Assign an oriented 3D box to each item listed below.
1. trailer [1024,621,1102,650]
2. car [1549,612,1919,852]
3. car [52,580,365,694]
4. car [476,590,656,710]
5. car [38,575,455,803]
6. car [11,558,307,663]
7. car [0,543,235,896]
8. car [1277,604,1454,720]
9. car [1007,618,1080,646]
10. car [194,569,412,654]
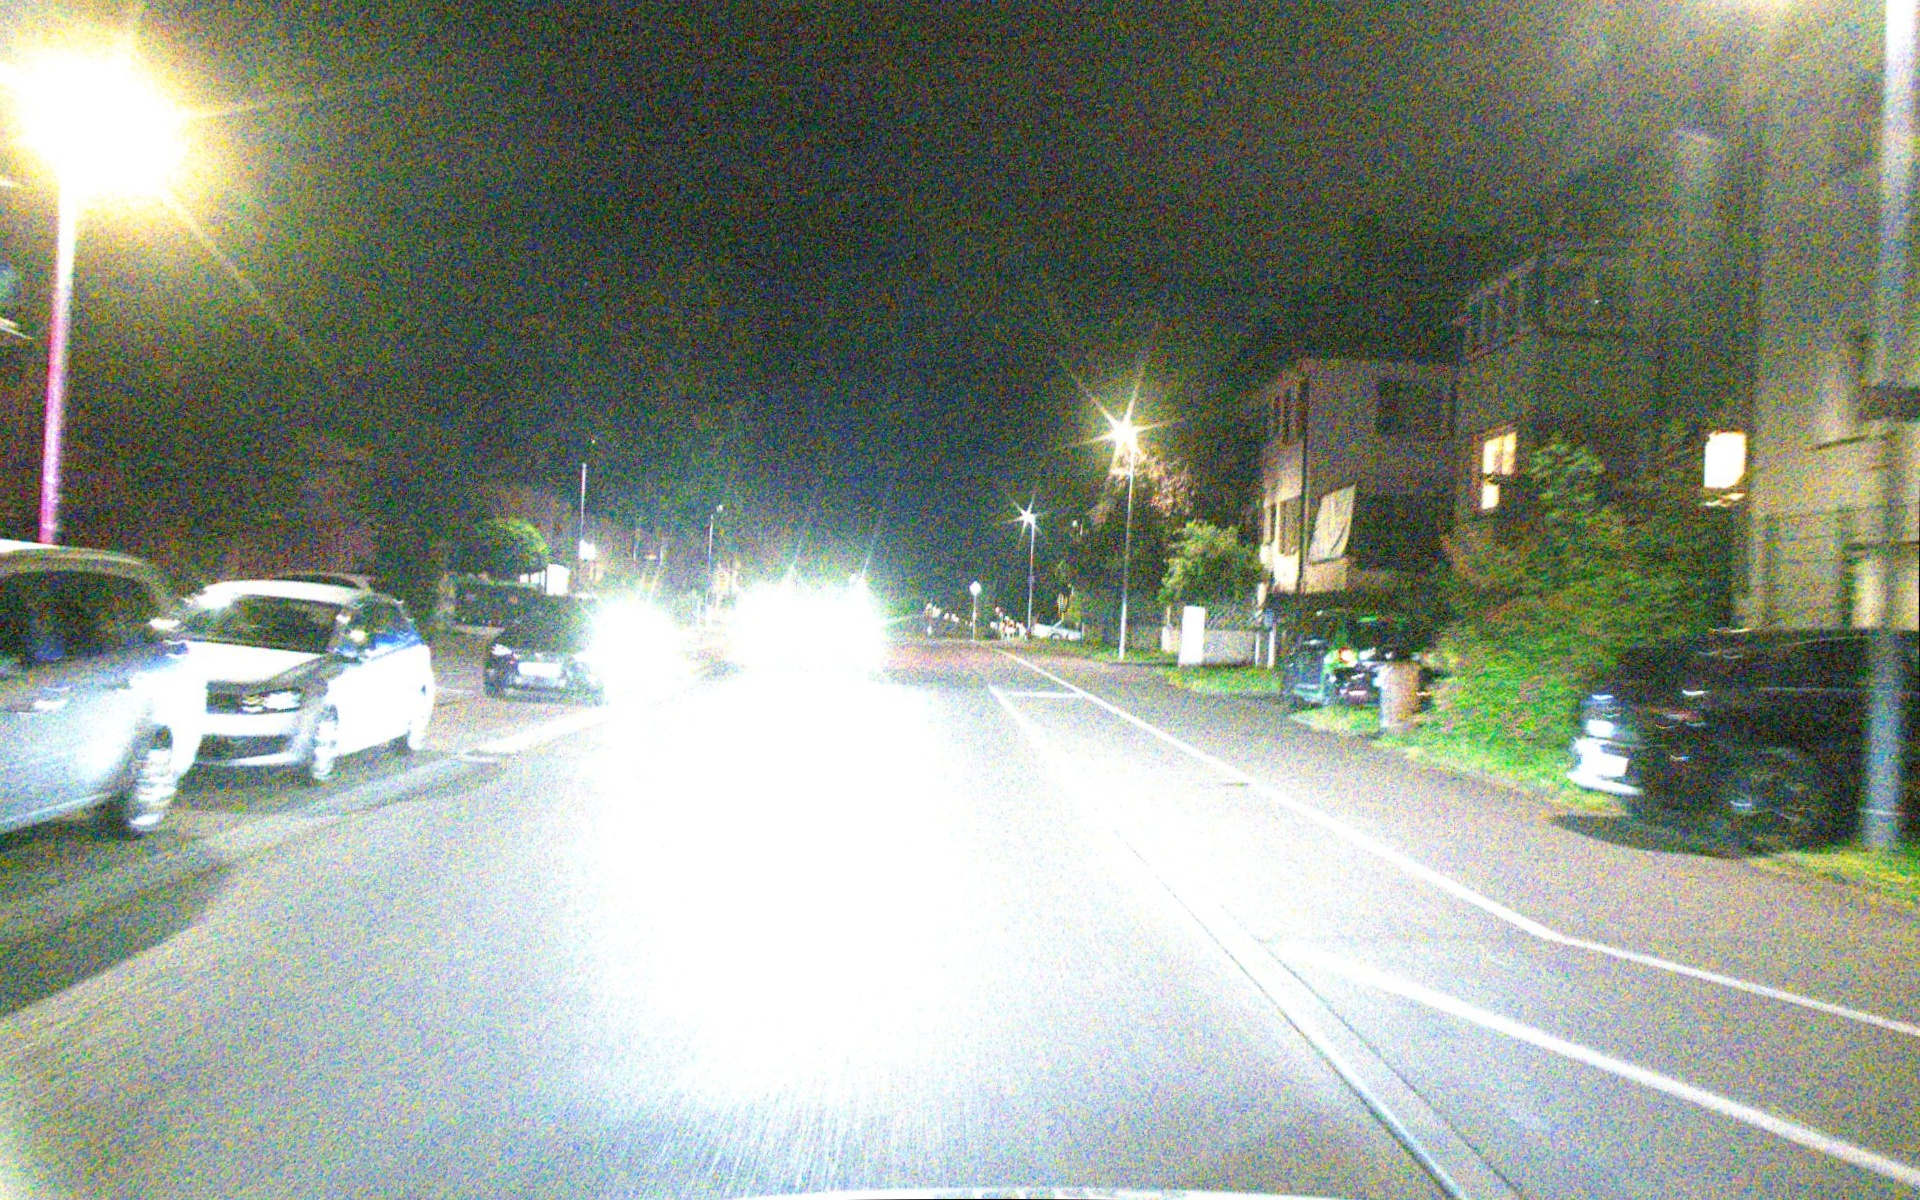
[{"bbox_3d":[4.755,1.645,76.409,3.364,1.019,1.953,5,-1,-2],"label":"trailer"},{"bbox_3d":[6.319,0.857,11.457,3.825,1.512,1.832,0,0,-2],"label":"car"},{"bbox_3d":[-11.636,0.558,25.846,3.907,1.489,1.999,-3,0,-2],"label":"car"},{"bbox_3d":[-5.526,0.661,23.653,1.714,1.494,4.007,3,0,-3],"label":"car"},{"bbox_3d":[-5.529,0.620,13.407,1.735,1.494,3.964,3,0,-3],"label":"car"},{"bbox_3d":[-13.540,0.177,28.148,4.031,1.691,2.000,0,0,-1],"label":"car"},{"bbox_3d":[-5.455,0.514,8.124,1.890,1.665,4.468,3,0,-3],"label":"car"},{"bbox_3d":[6.023,0.879,24.963,1.606,1.587,3.676,1,0,-2],"label":"car"},{"bbox_3d":[4.032,1.527,80.240,3.324,1.253,1.723,1,-1,-4],"label":"car"},{"bbox_3d":[-13.786,0.230,34.907,3.913,1.732,1.944,0,0,-9],"label":"car"}]
